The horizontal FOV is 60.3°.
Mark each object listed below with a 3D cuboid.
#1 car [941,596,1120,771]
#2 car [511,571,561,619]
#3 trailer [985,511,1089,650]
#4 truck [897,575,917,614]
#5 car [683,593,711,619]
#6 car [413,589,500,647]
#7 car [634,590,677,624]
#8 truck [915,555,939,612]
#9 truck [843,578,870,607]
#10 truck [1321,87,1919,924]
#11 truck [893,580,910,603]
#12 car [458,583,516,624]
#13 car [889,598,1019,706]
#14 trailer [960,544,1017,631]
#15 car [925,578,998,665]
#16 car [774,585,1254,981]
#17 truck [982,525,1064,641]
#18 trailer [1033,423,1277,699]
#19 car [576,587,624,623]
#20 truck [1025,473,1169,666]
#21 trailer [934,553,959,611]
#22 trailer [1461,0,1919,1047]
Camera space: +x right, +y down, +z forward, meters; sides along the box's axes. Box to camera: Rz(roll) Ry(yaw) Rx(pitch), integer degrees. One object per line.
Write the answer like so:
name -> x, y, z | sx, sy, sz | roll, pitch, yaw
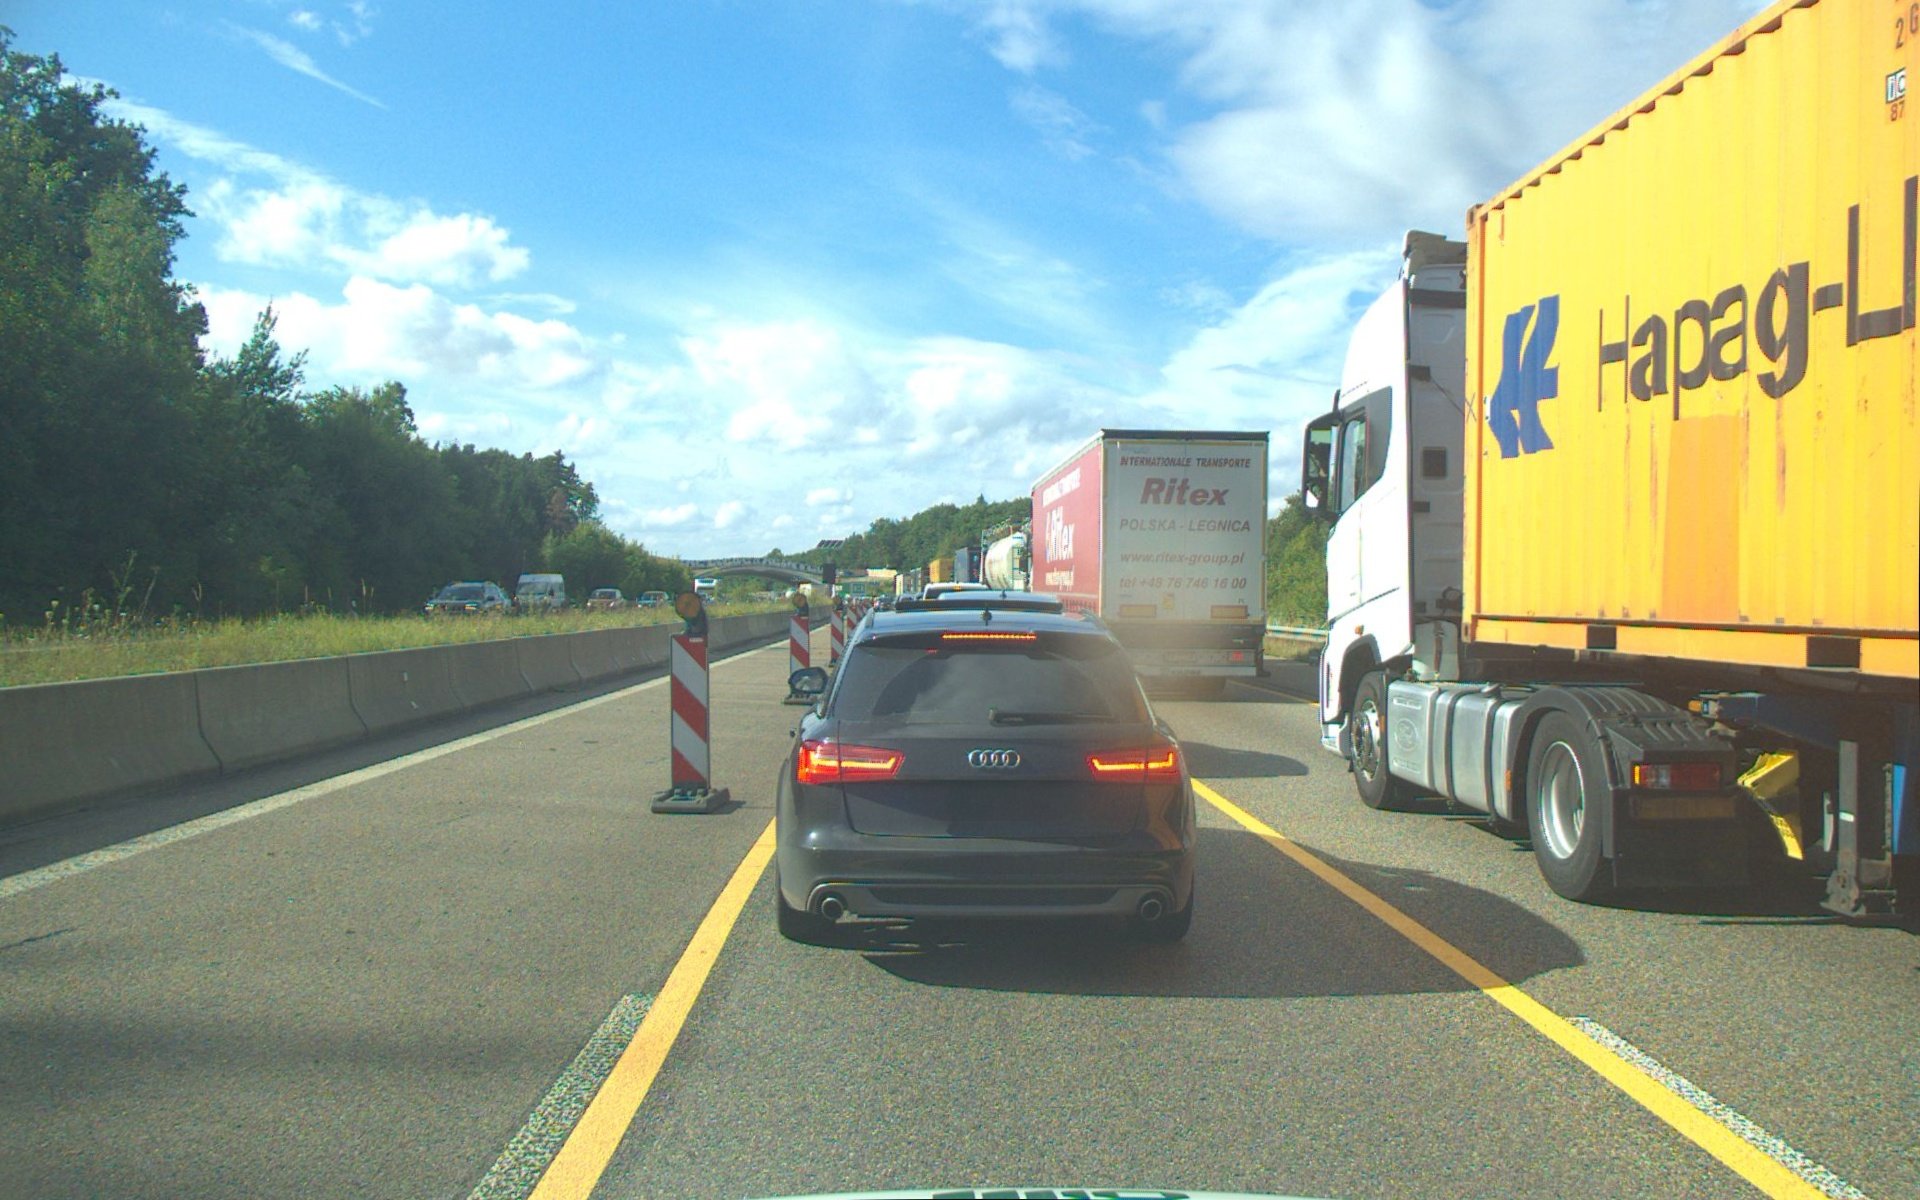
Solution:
car -> 0.587, 0.724, 15.763 | 1.493, 1.464, 3.284 | 1, 0, -1
car -> -24.851, -0.283, 97.048 | 2.208, 2.689, 5.010 | 1, 0, -8
trailer -> 2.351, -0.580, 54.856 | 2.590, 4.012, 12.595 | 1, 0, -1
truck -> -5.939, -0.634, 185.838 | 2.094, 4.332, 7.069 | 1, 0, -1
car -> -18.044, 0.418, 113.610 | 1.452, 1.682, 3.233 | 1, 0, -1
car -> -15.838, 0.544, 52.149 | 1.680, 1.736, 3.522 | 1, 0, -1
car -> -17.333, 0.413, 94.354 | 1.762, 1.881, 3.809 | 1, 0, -1
truck -> -3.018, -1.470, 151.664 | 1.953, 5.000, 9.558 | 1, 0, -2
truck -> -15.818, -1.135, 252.580 | 3.243, 4.248, 9.682 | -1, 0, -9
truck -> 4.257, -0.421, 10.554 | 2.444, 3.847, 5.787 | 1, 0, -2
truck -> -8.895, -1.272, 252.544 | 2.515, 3.527, 7.395 | 1, 0, -2
car -> -24.901, 0.190, 87.183 | 1.953, 2.049, 3.999 | 1, 0, -1
car -> -0.103, 0.704, 24.005 | 1.716, 1.421, 3.607 | 1, 0, -1
trailer -> 1.500, -0.625, 91.489 | 2.748, 4.490, 10.430 | 1, 0, -1
car -> 0.018, 0.478, 37.408 | 1.549, 1.869, 3.111 | 1, 0, -1
car -> 0.181, 0.707, 8.267 | 1.811, 1.489, 3.999 | 1, 0, -1
truck -> 2.248, -0.577, 60.763 | 2.605, 4.041, 5.777 | 1, 0, -1
trailer -> 3.182, -0.595, 31.162 | 2.645, 4.038, 13.413 | 1, 0, -1
car -> -20.856, 0.270, 95.965 | 1.953, 2.049, 3.999 | 1, 0, -1
truck -> 3.004, -0.645, 37.718 | 2.614, 4.029, 5.709 | 1, 0, -2
trailer -> -0.989, -1.216, 118.340 | 1.584, 3.987, 6.487 | 1, 0, -2
trailer -> 4.454, -0.422, 4.059 | 2.421, 3.841, 12.131 | 1, 0, -2
